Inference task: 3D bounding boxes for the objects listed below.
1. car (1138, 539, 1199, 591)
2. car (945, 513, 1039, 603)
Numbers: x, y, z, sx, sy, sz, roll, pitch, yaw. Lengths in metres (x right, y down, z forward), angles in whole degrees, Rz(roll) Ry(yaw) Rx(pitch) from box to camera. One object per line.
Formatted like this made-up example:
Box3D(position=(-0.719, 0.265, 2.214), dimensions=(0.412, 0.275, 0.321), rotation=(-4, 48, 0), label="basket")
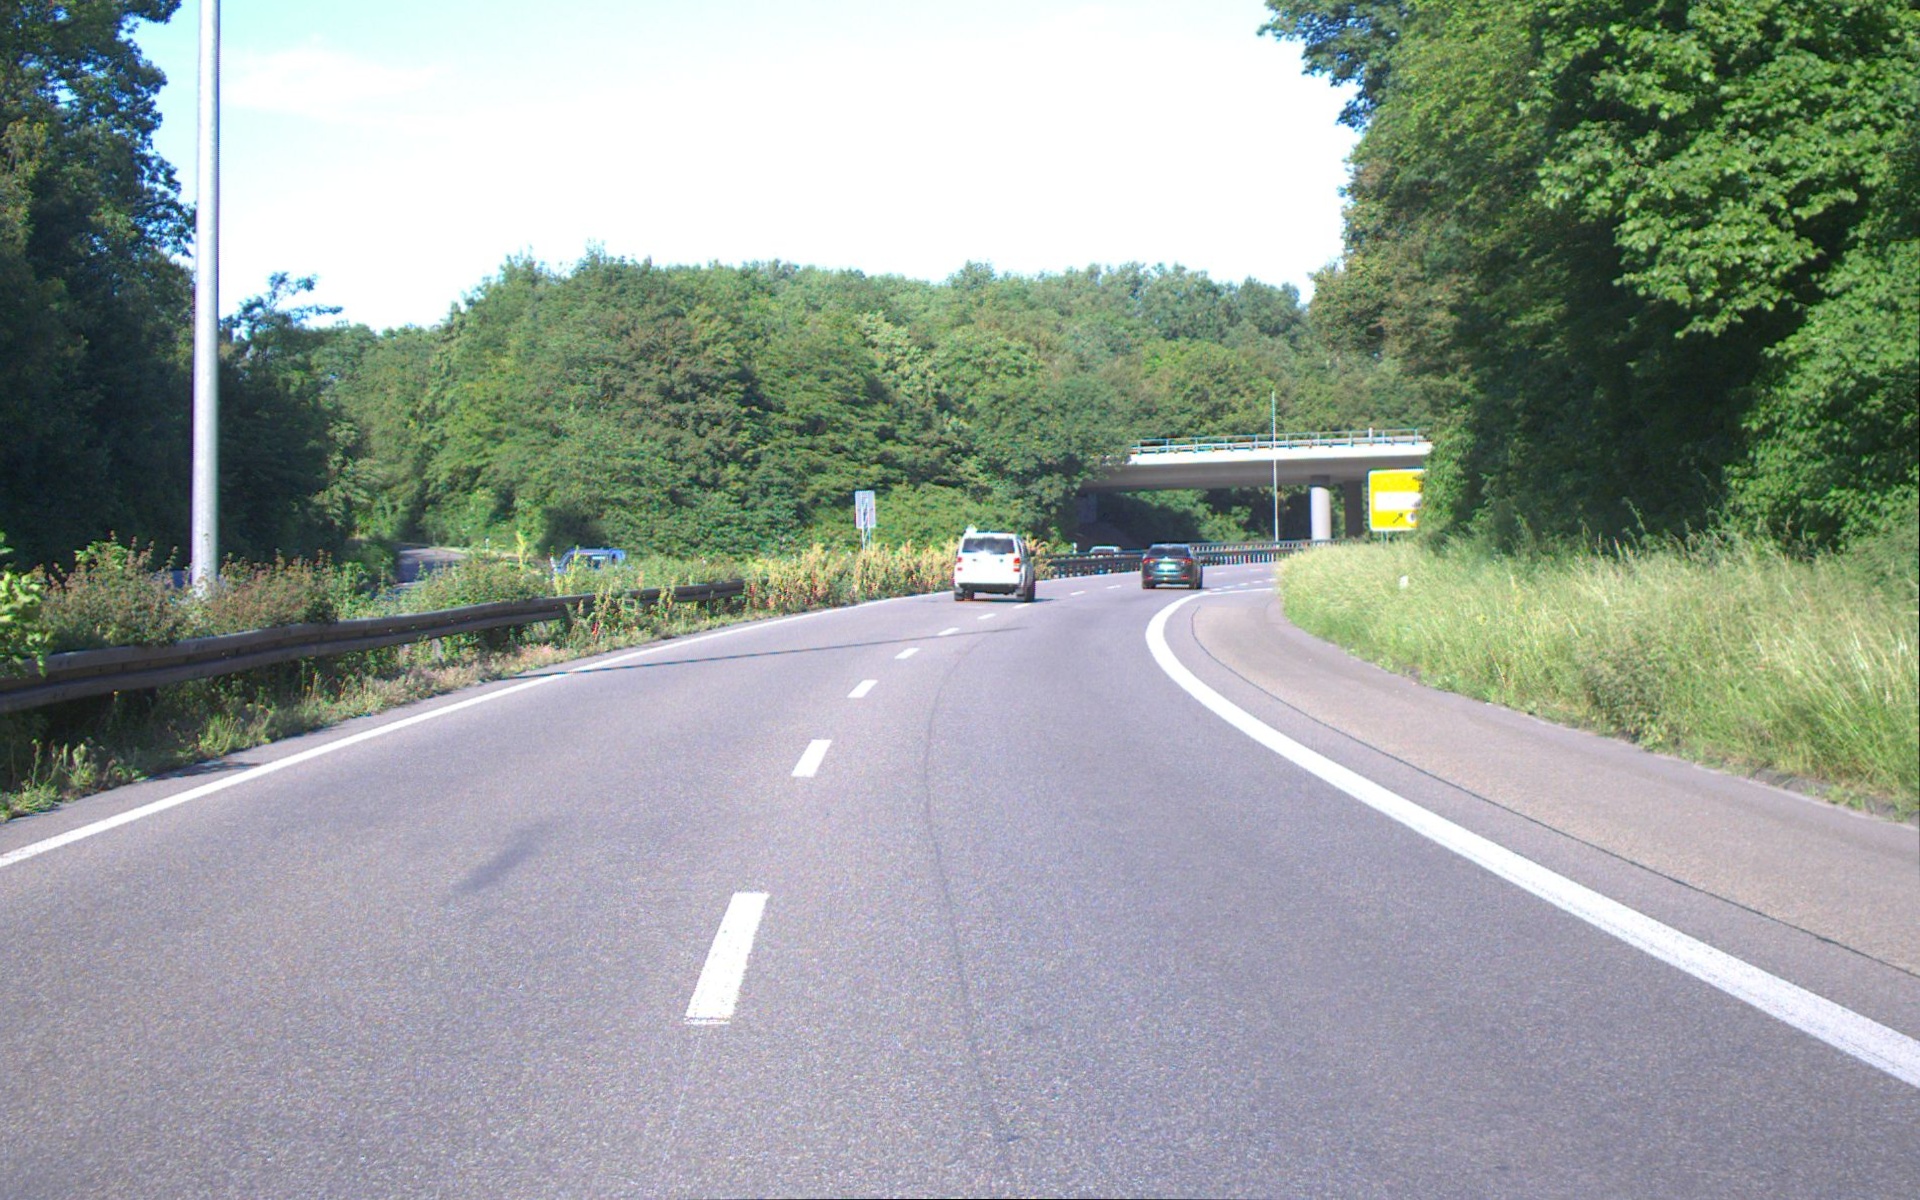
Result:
Box3D(position=(6.839, -1.160, 112.570), dimensions=(1.739, 1.656, 3.945), rotation=(0, 1, 7), label="car")
Box3D(position=(0.859, -1.094, 89.060), dimensions=(1.994, 2.269, 3.999), rotation=(0, 1, 7), label="car")
